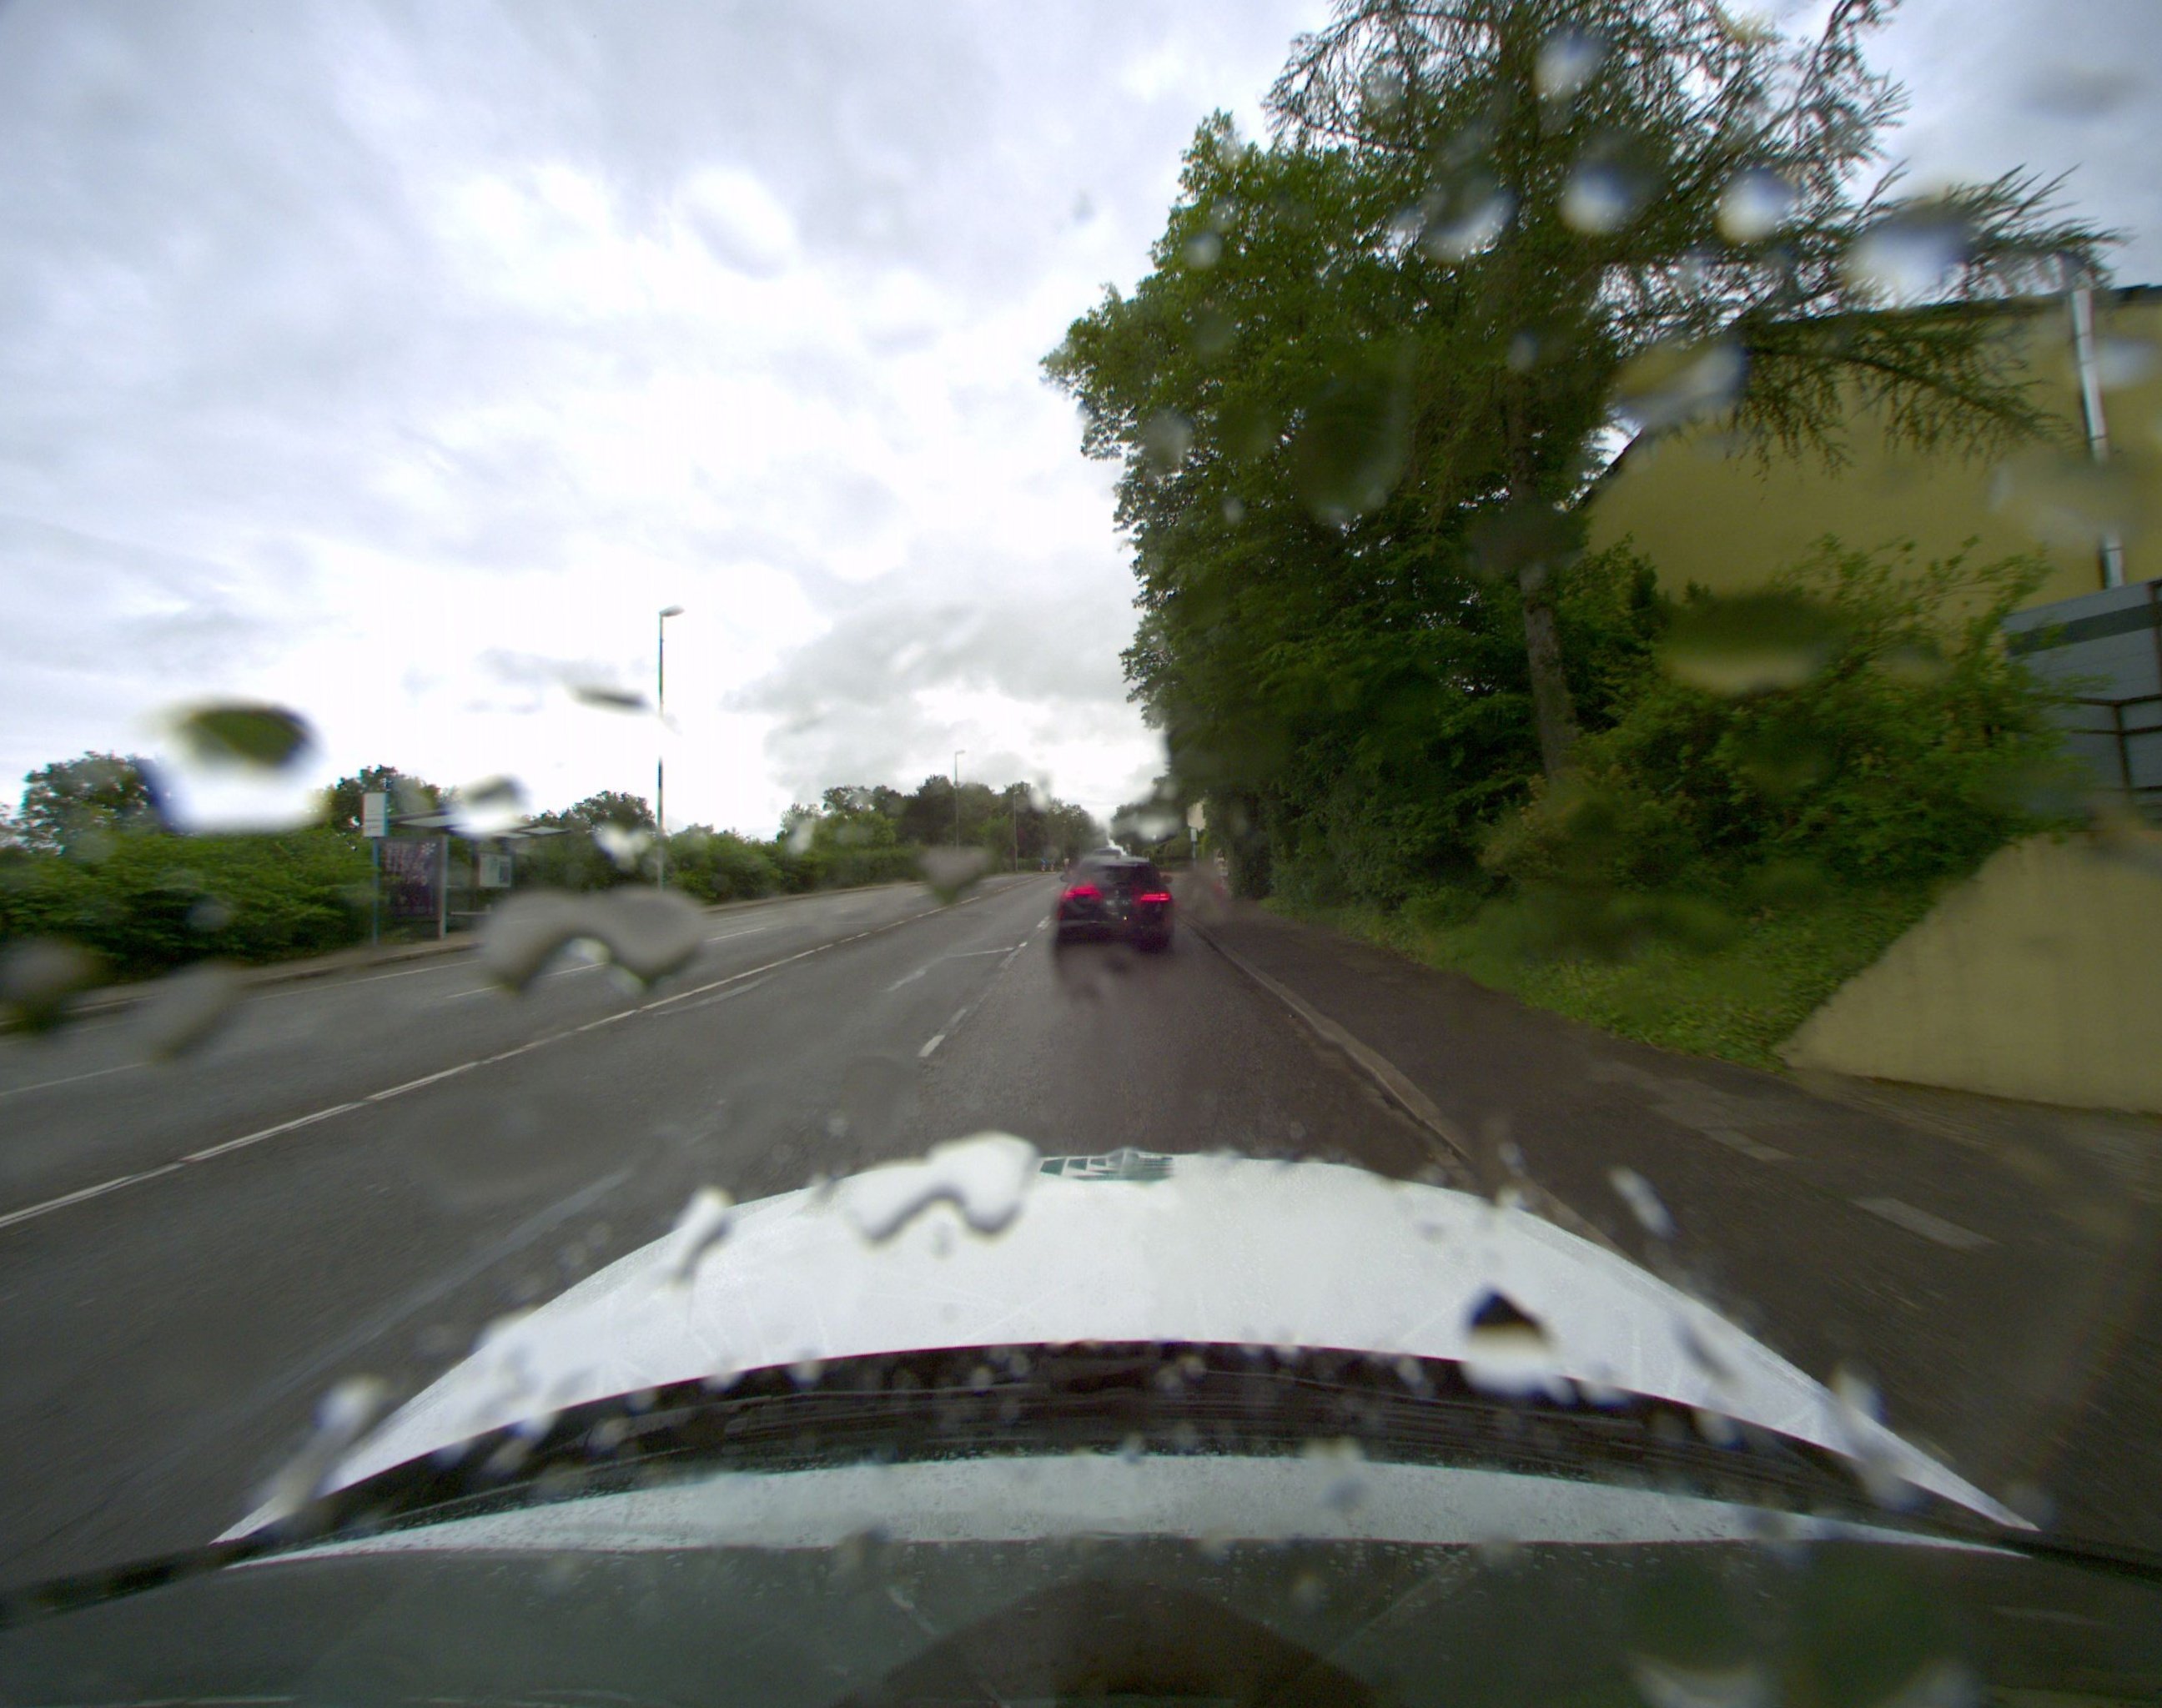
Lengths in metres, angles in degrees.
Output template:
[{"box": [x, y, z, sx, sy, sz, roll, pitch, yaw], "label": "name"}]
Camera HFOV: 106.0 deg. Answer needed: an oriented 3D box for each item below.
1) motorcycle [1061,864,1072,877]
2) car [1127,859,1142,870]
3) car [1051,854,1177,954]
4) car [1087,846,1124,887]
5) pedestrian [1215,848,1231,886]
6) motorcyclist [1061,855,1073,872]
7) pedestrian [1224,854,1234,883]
[{"box": [-1.296, 1.499, 73.823, 0.872, 1.124, 2.742, 1, -1, 2], "label": "motorcycle"}, {"box": [7.404, 1.392, 111.924, 1.926, 1.442, 4.413, -2, -1, 4], "label": "car"}, {"box": [0.601, 0.762, 14.308, 1.889, 1.489, 4.003, 1, 0, 3], "label": "car"}, {"box": [1.182, 0.574, 39.457, 1.623, 1.833, 4.002, -2, 0, 2], "label": "car"}, {"box": [6.050, 0.566, 34.698, 0.606, 1.593, 0.648, -1, 0, 10], "label": "pedestrian"}, {"box": [-1.275, 0.872, 73.817, 1.035, 1.567, 0.855, 1, -1, 1], "label": "motorcyclist"}, {"box": [5.902, 0.567, 32.483, 0.365, 1.146, 0.367, -1, 0, 10], "label": "pedestrian"}]
